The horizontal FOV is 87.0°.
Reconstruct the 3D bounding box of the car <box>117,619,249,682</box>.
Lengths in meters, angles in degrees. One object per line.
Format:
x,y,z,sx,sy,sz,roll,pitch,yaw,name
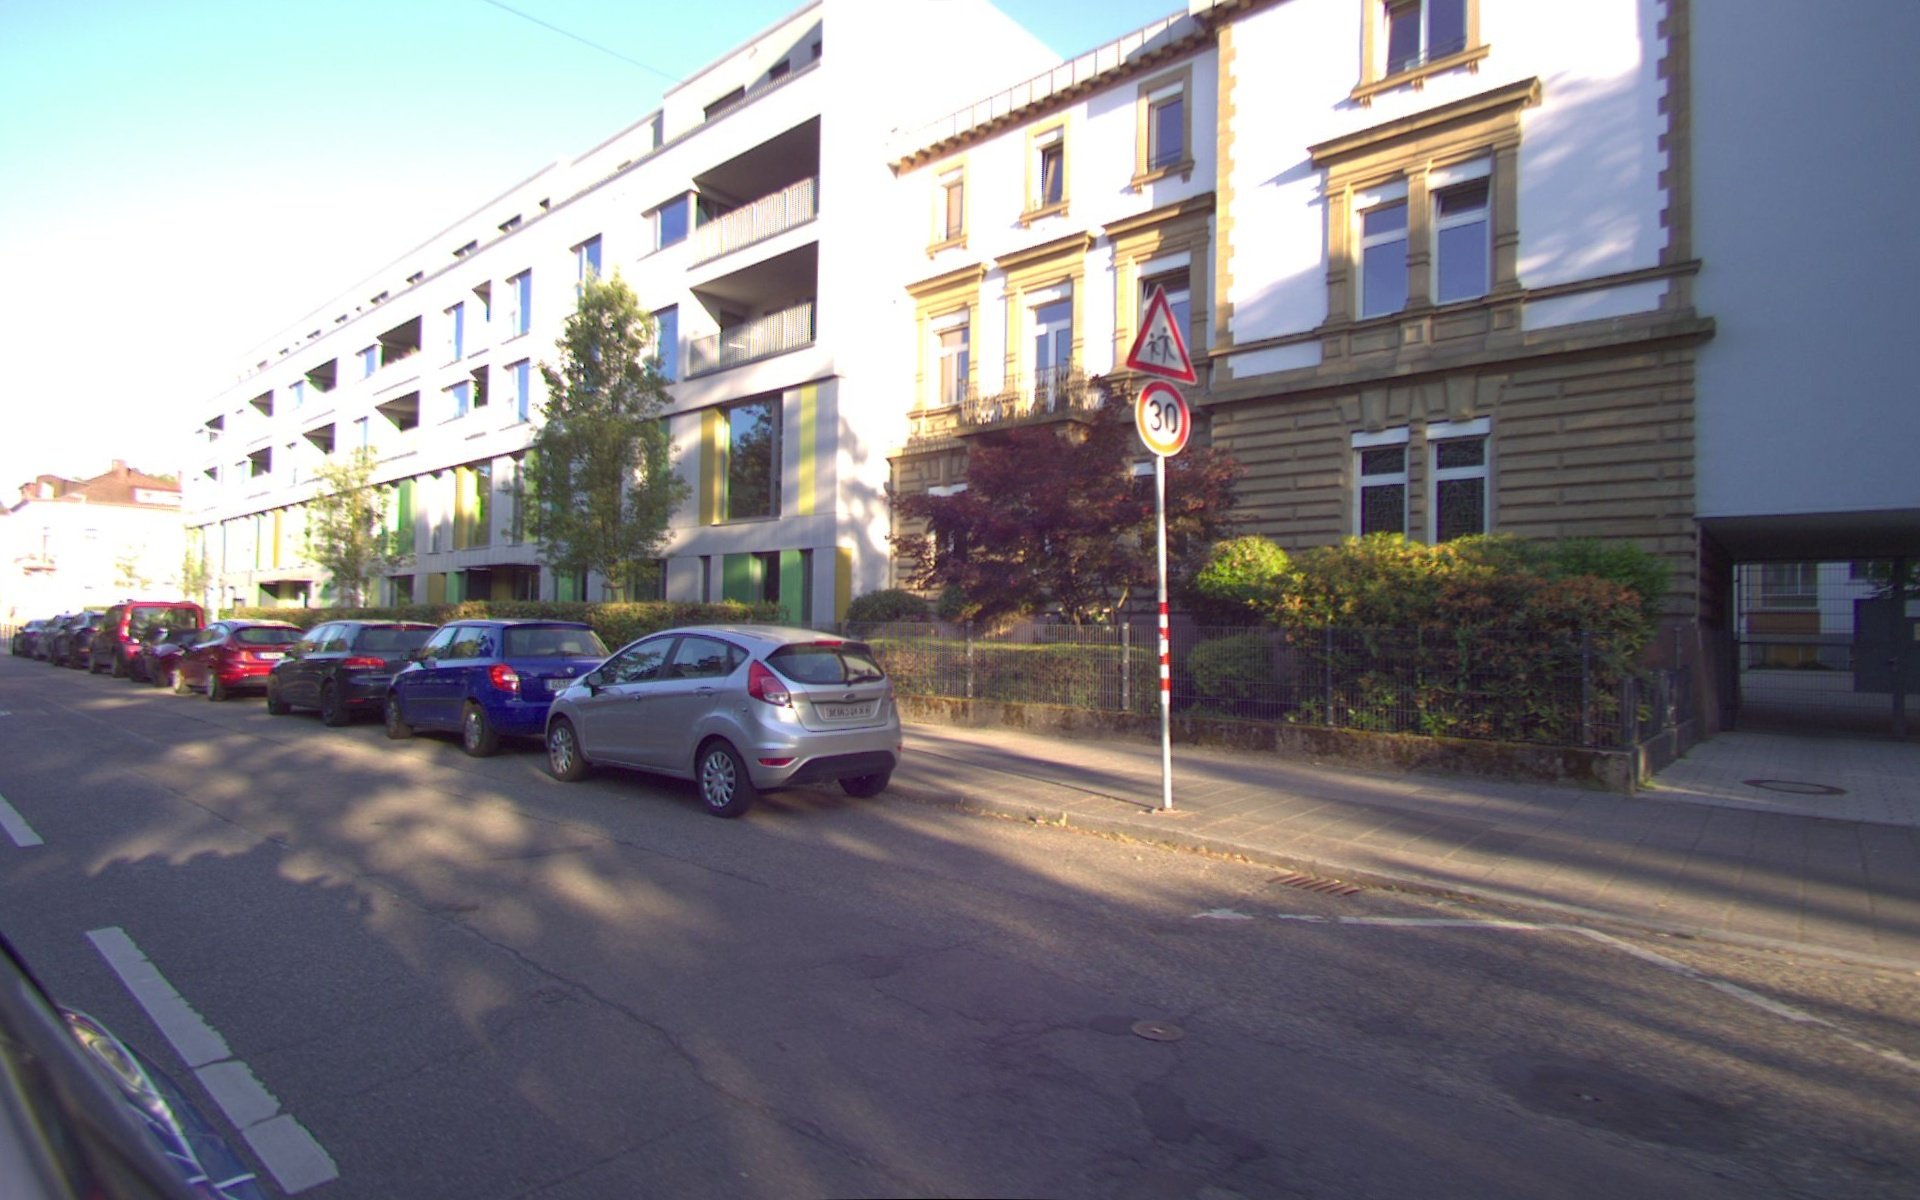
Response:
-17.329,1.094,22.513,3.730,1.290,1.540,-1,-4,41,car

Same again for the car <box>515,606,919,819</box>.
-2.290,0.864,9.026,3.770,1.505,1.584,-1,-4,41,car

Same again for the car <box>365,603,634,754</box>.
-5.596,0.862,12.106,3.787,1.519,1.581,-1,-4,44,car

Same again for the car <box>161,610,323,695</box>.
-13.765,0.949,19.331,3.859,1.466,1.582,0,-2,41,car

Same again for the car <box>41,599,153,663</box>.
-25.037,0.905,29.309,4.413,1.689,1.724,-1,-4,41,car

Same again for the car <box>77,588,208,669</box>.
-20.907,0.747,25.824,4.235,1.904,1.789,-1,-4,41,car

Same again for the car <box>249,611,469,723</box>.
-9.120,0.950,15.239,4.052,1.466,1.582,-1,-4,41,car

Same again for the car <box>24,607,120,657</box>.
-29.210,1.036,33.256,4.112,1.545,1.724,-1,-2,40,car

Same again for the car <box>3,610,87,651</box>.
-32.717,1.071,36.141,4.395,1.367,1.723,-1,-3,42,car
